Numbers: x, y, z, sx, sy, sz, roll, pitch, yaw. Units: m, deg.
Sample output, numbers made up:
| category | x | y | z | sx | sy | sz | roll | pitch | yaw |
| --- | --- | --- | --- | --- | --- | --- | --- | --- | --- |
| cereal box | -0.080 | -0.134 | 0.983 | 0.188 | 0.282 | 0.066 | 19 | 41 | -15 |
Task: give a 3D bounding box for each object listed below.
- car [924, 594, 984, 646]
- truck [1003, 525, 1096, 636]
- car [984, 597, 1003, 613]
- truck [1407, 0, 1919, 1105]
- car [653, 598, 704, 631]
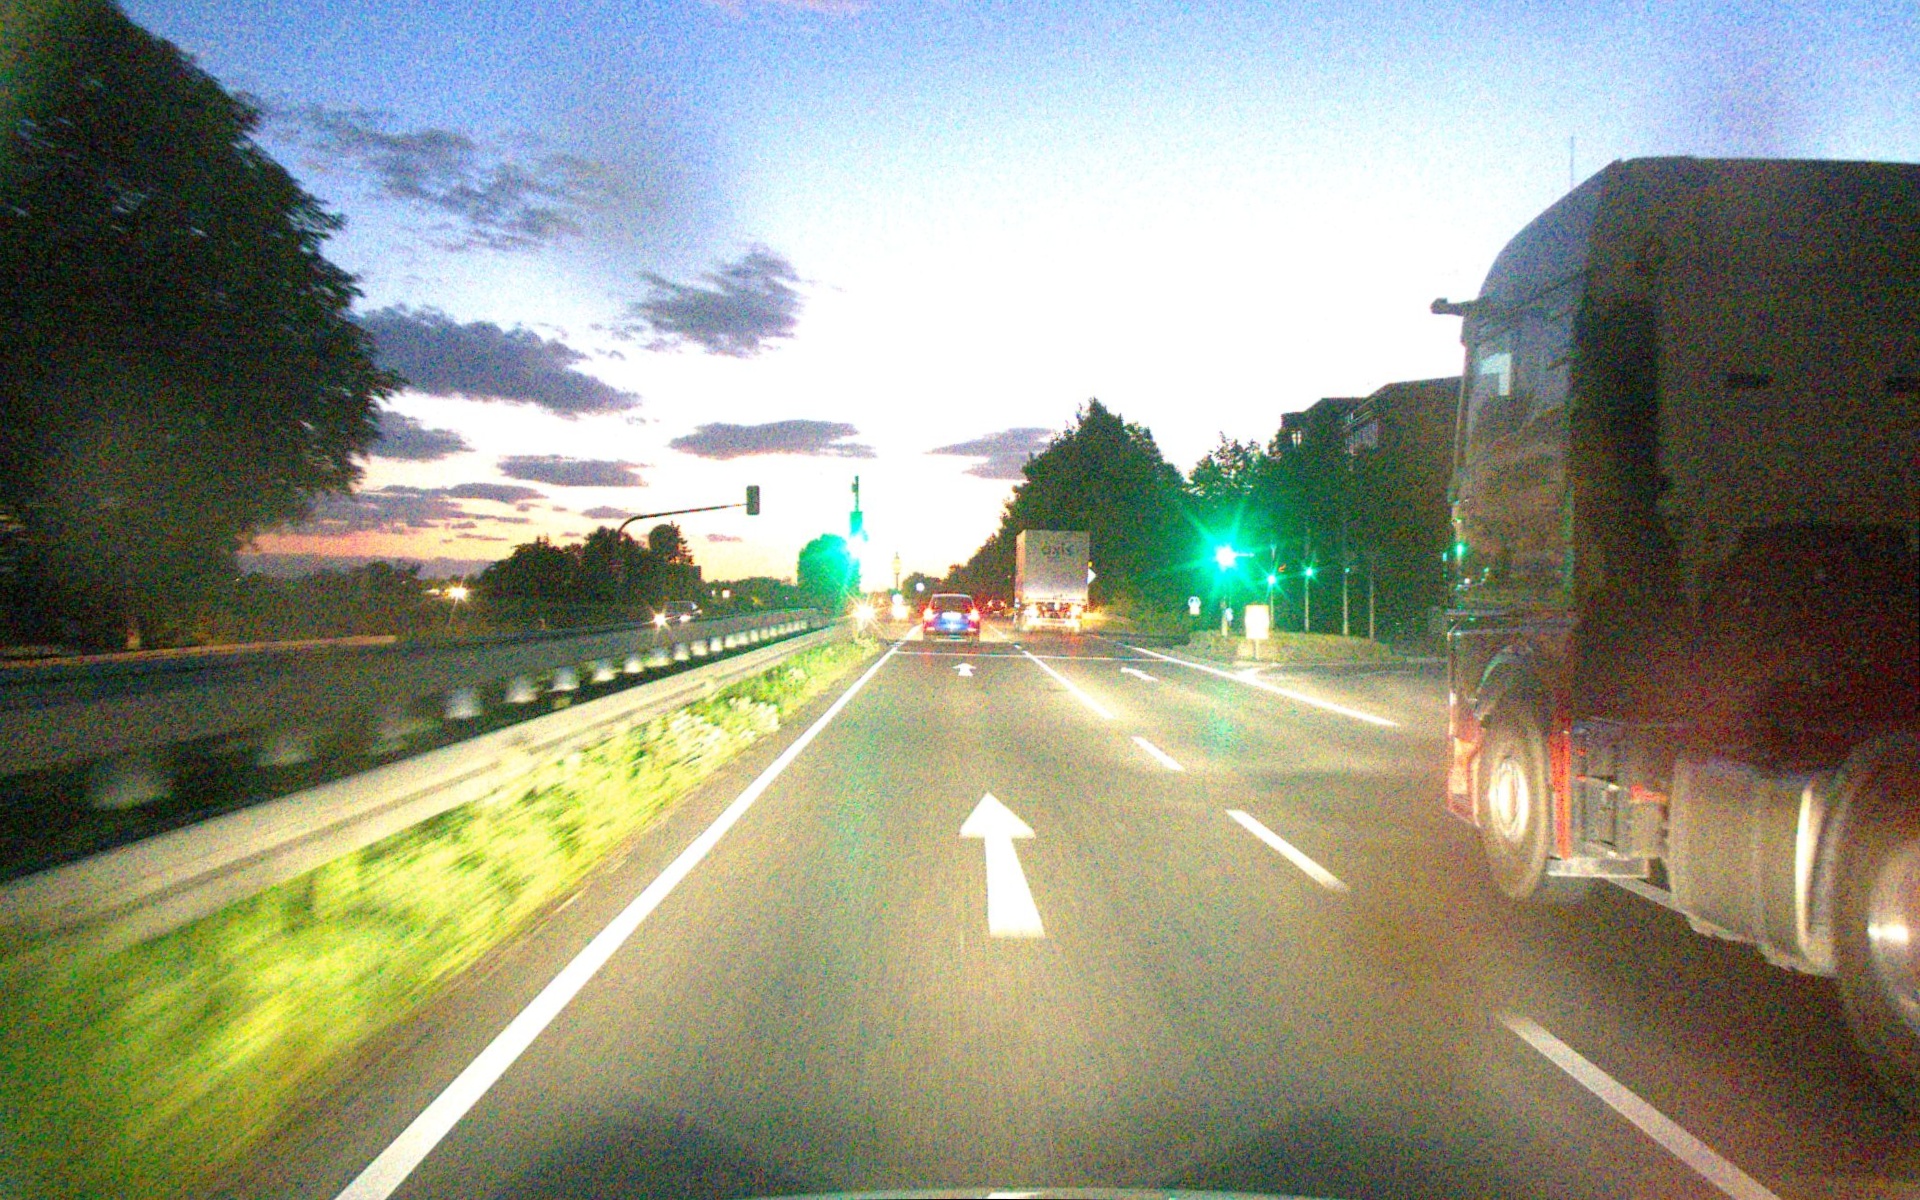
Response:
| category | x | y | z | sx | sy | sz | roll | pitch | yaw |
| --- | --- | --- | --- | --- | --- | --- | --- | --- | --- |
| car | -0.208 | 0.567 | 49.117 | 1.661 | 1.478 | 3.913 | 1 | 0 | -2 |
| truck | 3.601 | -0.762 | 69.742 | 2.825 | 4.178 | 12.679 | 1 | 0 | -2 |
| car | 3.249 | 0.503 | 162.345 | 1.661 | 1.478 | 3.913 | 1 | 0 | -2 |
| truck | 4.182 | -0.571 | 4.092 | 2.632 | 4.178 | 13.141 | 1 | 0 | 0 |
| car | -12.105 | 0.604 | 71.364 | 1.573 | 1.353 | 3.938 | -2 | 0 | -2 |
